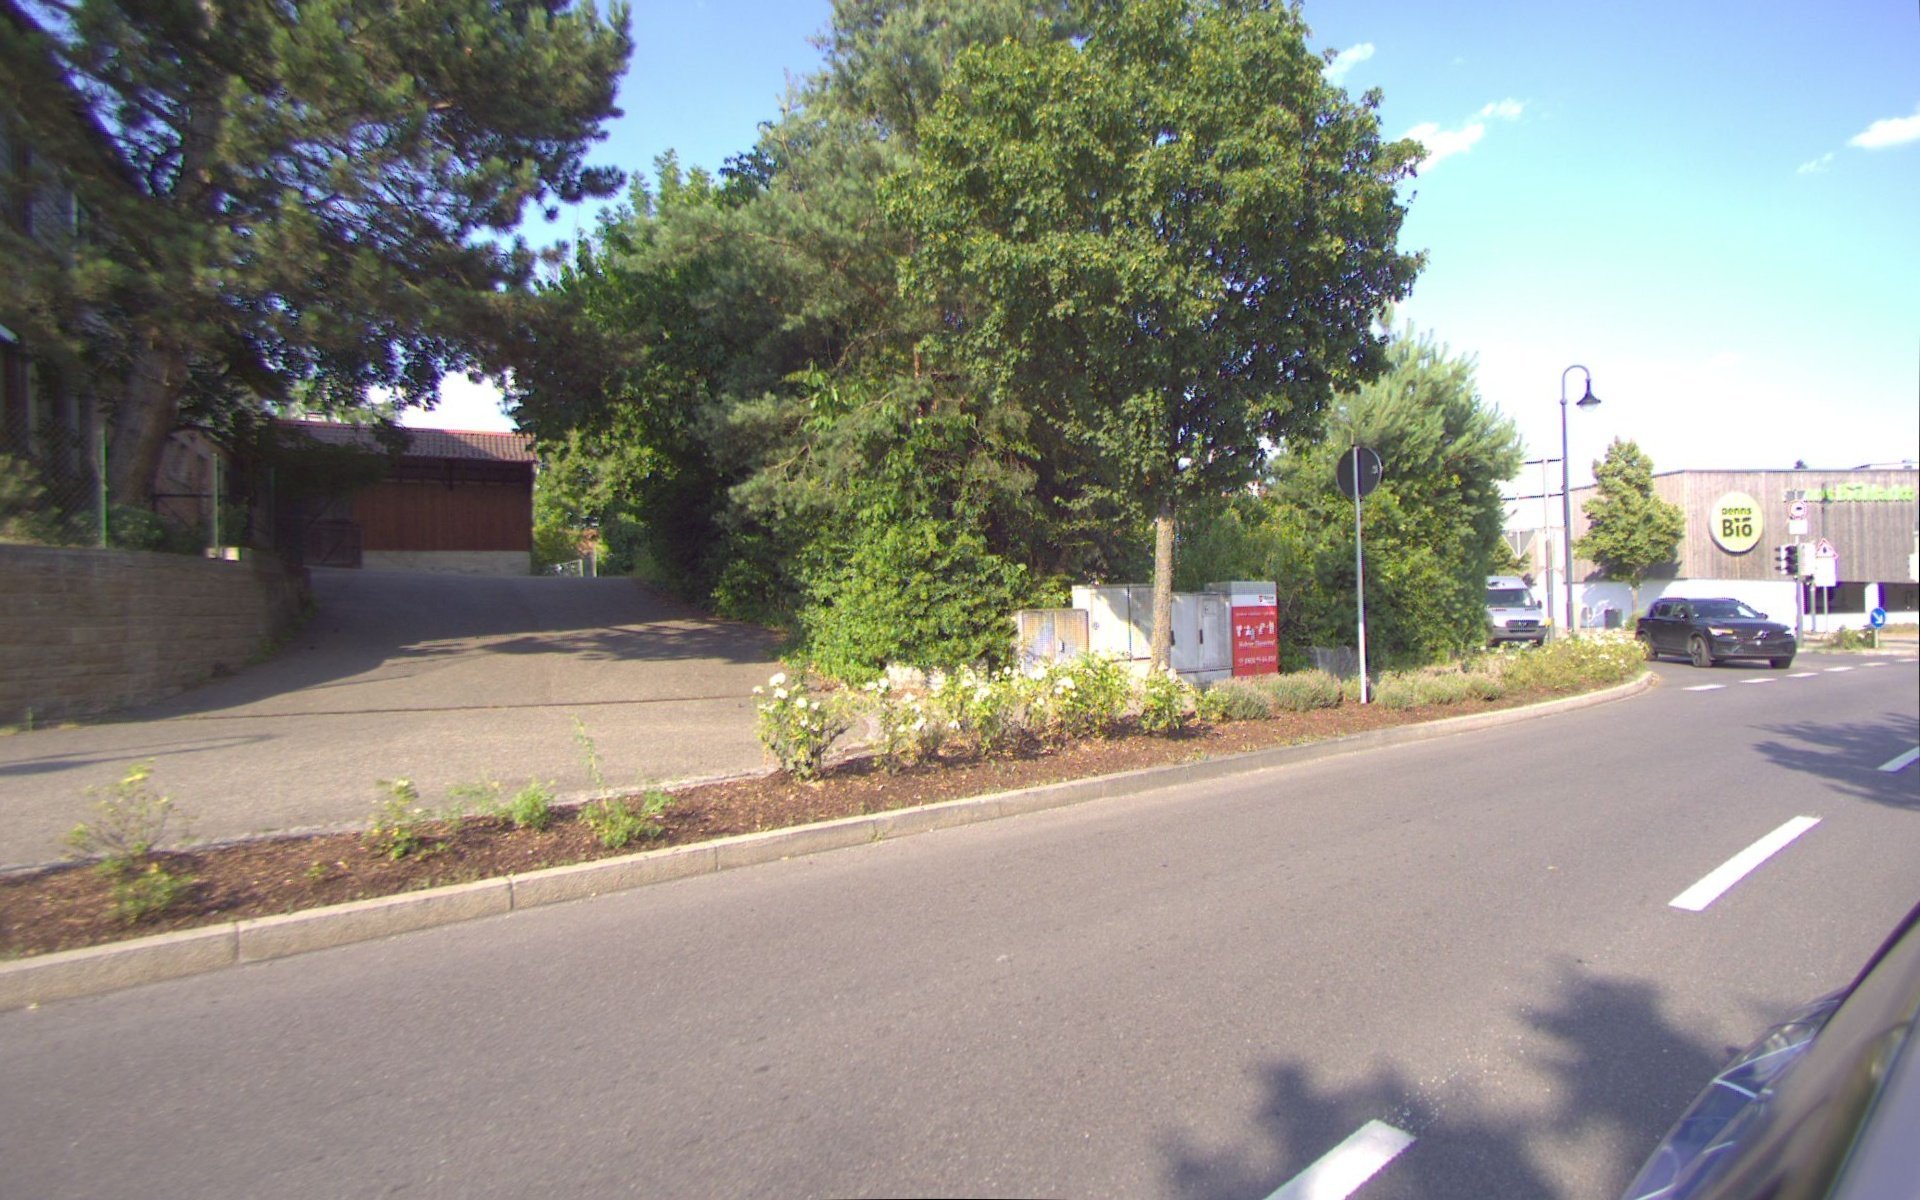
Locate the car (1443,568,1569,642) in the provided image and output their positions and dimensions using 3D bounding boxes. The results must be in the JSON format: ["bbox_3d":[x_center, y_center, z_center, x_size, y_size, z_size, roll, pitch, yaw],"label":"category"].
[{"bbox_3d":[20.297,0.172,37.968,2.157,2.553,5.848,0,0,7],"label":"car"}]

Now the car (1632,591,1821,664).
[{"bbox_3d":[18.149,0.593,24.243,1.763,1.587,4.260,0,0,9],"label":"car"}]
